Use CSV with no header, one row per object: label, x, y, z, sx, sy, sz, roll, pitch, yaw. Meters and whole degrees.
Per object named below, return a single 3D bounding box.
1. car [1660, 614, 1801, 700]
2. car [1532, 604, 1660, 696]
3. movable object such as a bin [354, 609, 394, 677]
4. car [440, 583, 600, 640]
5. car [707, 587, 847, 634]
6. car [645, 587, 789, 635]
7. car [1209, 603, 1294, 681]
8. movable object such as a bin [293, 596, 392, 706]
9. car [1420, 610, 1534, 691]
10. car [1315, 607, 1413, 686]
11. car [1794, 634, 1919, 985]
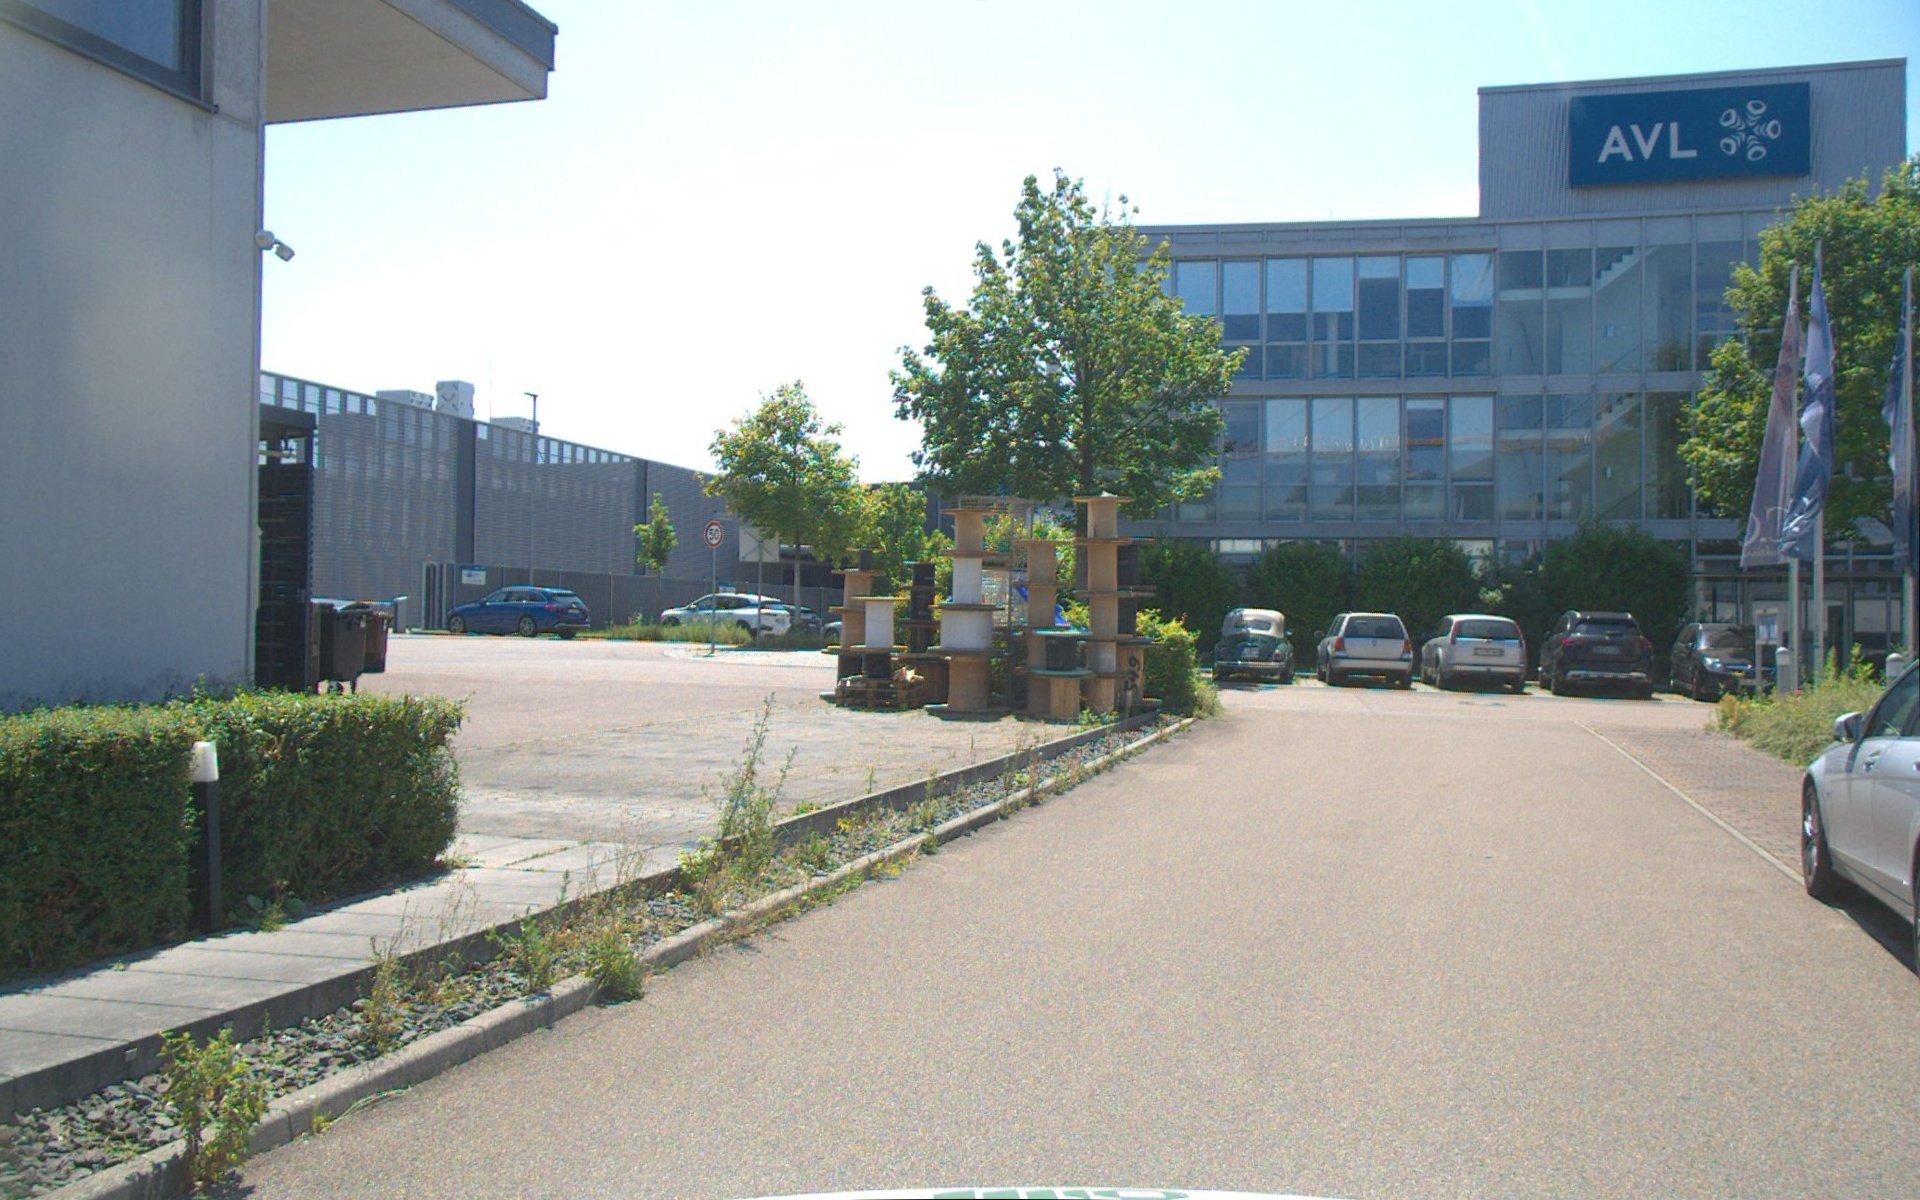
car,15.136,1.068,32.704,1.732,1.508,4.262,1,0,14
car,12.719,0.950,33.298,1.886,1.639,3.989,2,1,14
movable object such as a bin,-9.220,0.677,26.034,0.568,1.054,0.423,1,-1,-18
car,-12.944,0.322,48.662,4.416,1.517,1.996,2,1,30
car,-6.643,0.363,59.907,4.748,1.517,1.996,2,1,30
car,-8.448,0.354,57.424,4.748,1.517,1.996,2,1,30
car,6.163,0.841,34.724,1.509,1.474,3.657,2,1,13
movable object such as a bin,-7.958,0.649,21.334,0.794,1.368,0.884,1,-1,21
car,10.640,0.995,34.249,1.727,1.474,3.657,2,1,10
car,8.350,0.921,34.403,1.695,1.474,3.657,2,1,10
car,5.048,0.881,7.364,1.762,1.422,4.421,1,-1,19
